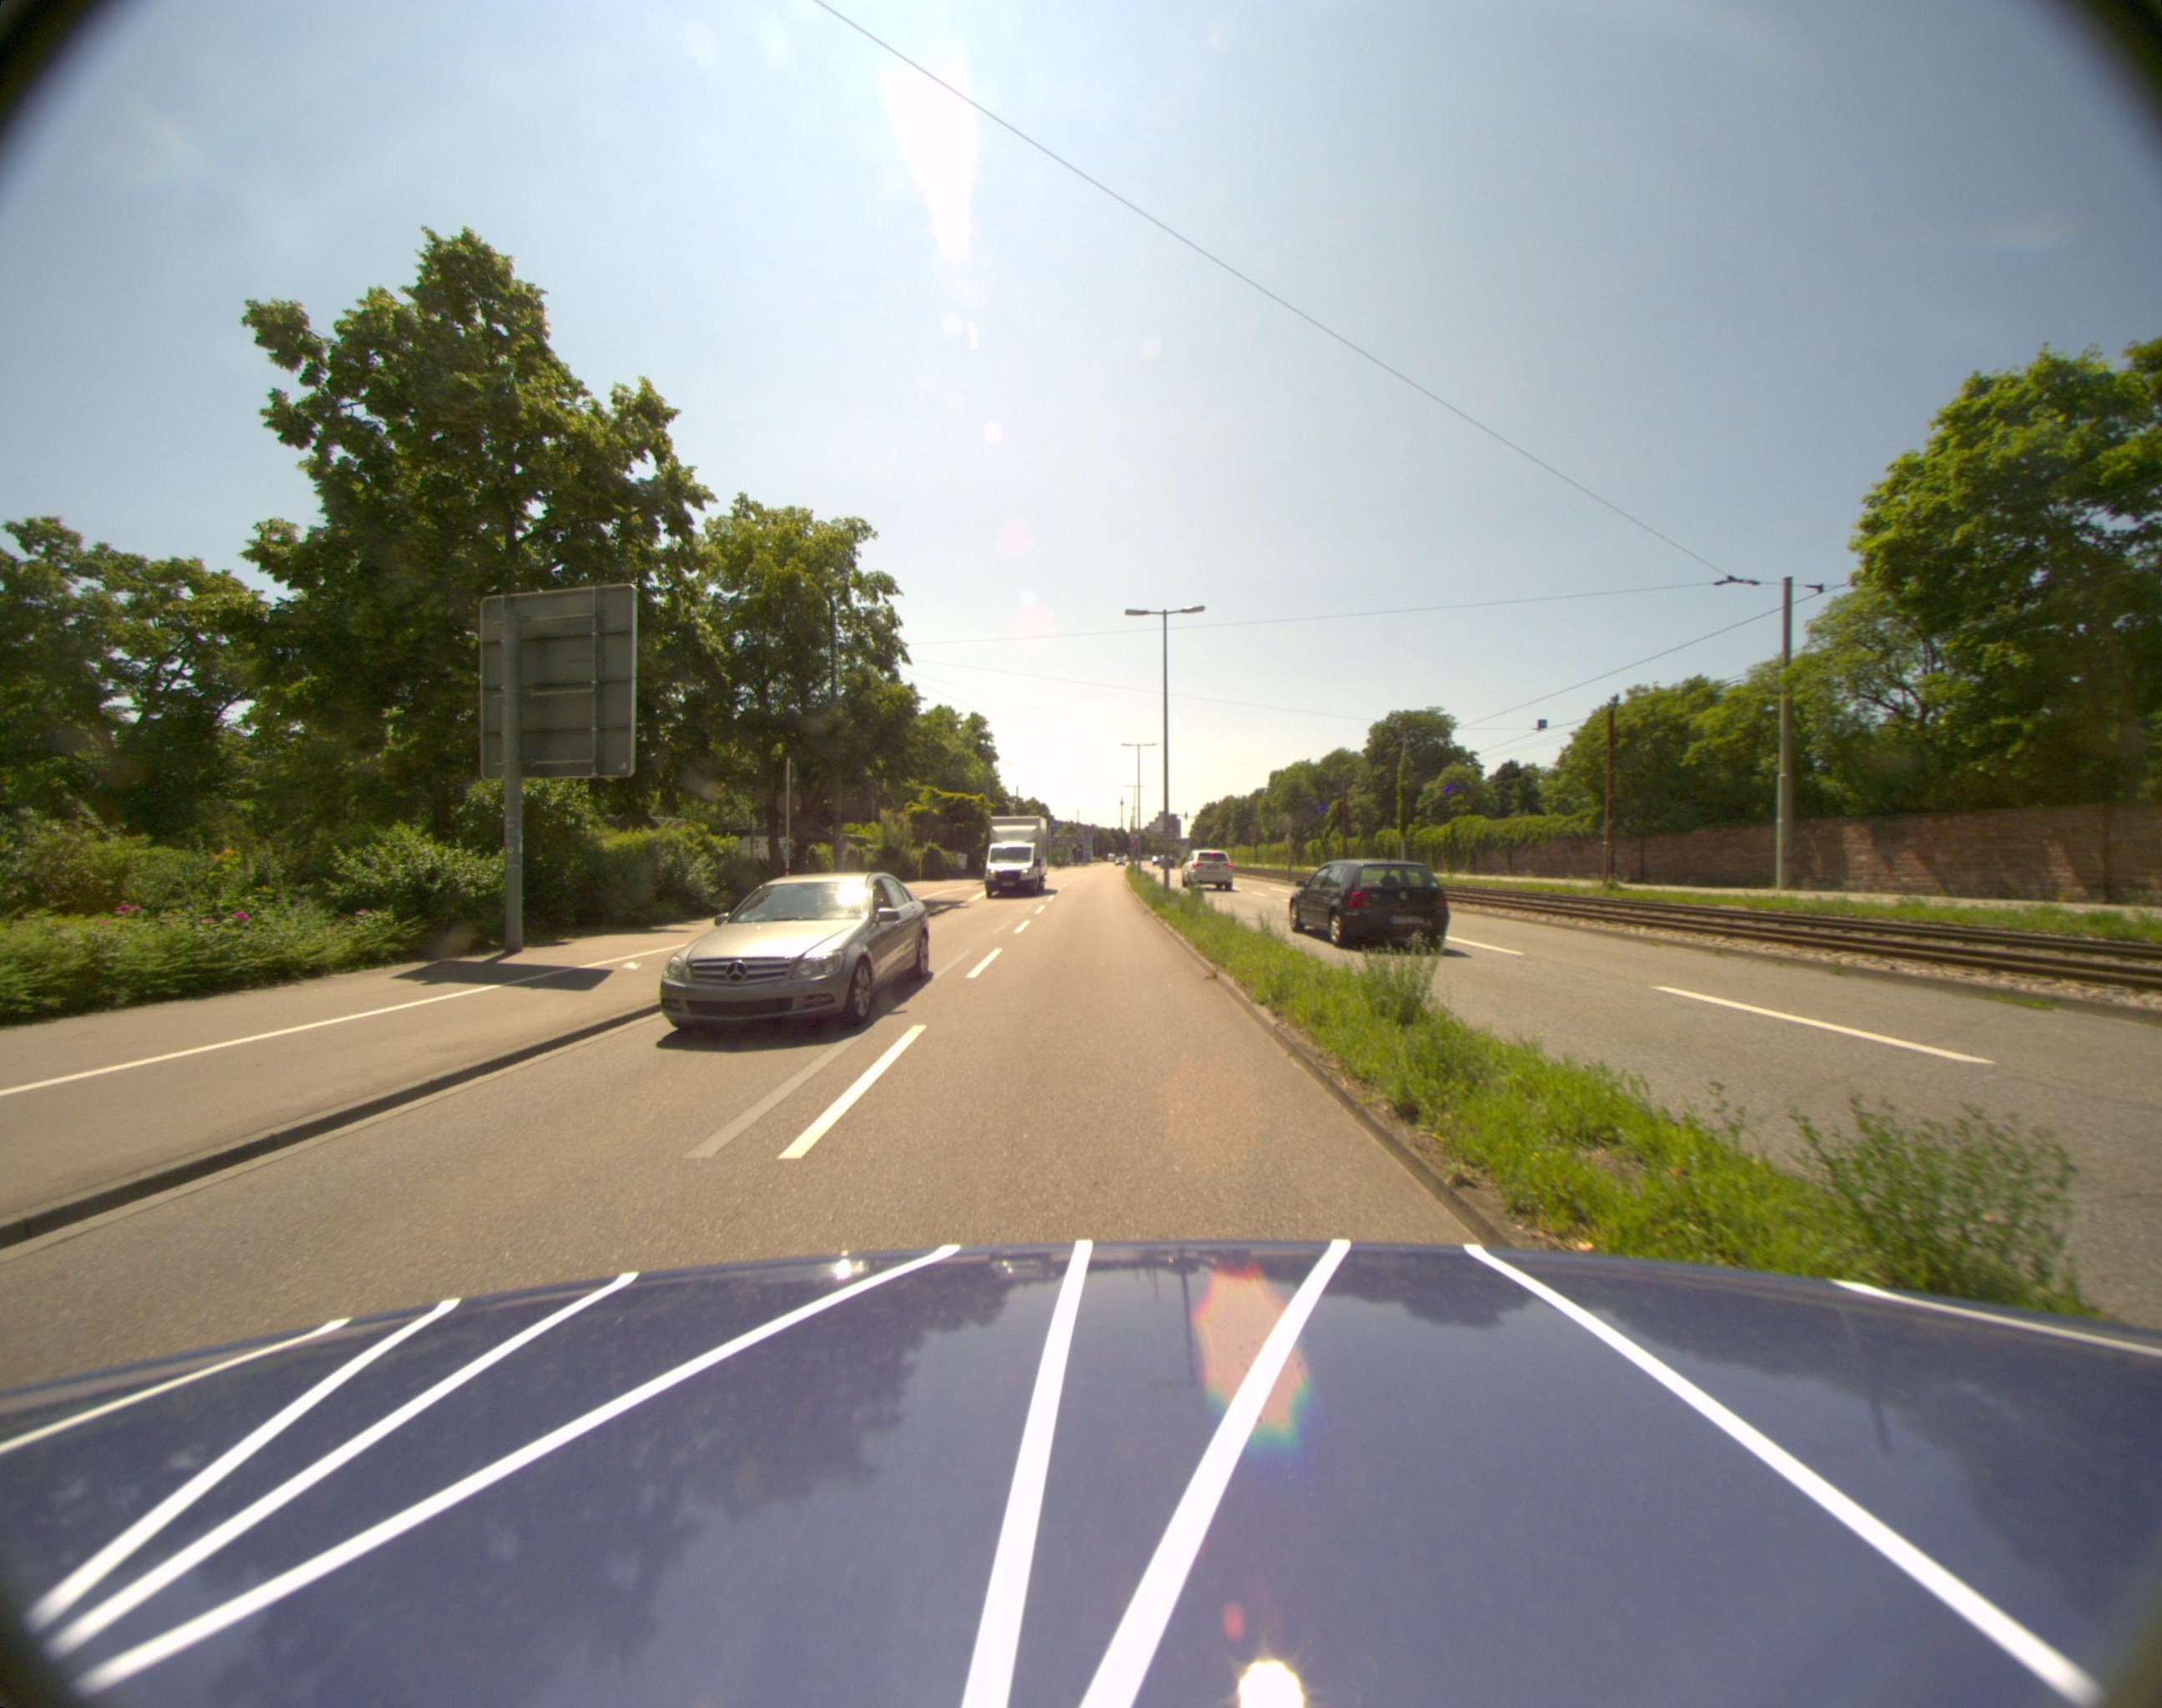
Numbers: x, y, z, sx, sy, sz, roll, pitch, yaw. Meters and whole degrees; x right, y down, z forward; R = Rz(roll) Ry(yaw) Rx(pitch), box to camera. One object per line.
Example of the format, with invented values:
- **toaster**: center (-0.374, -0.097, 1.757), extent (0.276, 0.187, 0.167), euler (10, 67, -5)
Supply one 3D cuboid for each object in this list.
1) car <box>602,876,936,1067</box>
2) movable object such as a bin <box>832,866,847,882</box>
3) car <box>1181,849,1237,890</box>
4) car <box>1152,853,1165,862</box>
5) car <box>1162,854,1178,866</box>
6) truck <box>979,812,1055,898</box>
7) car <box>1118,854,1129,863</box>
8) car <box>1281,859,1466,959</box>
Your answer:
- **car**: center (-2.997, 1.047, 8.350), extent (1.903, 1.451, 3.971), euler (-2, 0, 1)
- **movable object such as a bin**: center (-14.404, 1.203, 45.274), extent (0.630, 0.898, 0.637), euler (-1, 1, 4)
- **car**: center (5.778, 0.655, 34.824), extent (1.905, 1.738, 4.588), euler (0, 0, 1)
- **car**: center (12.606, 0.555, 123.967), extent (1.765, 1.512, 4.097), euler (1, 0, 2)
- **car**: center (11.225, 0.730, 96.176), extent (1.699, 1.462, 3.791), euler (0, 0, 2)
- **truck**: center (-2.620, 0.000, 33.568), extent (2.294, 3.259, 8.312), euler (-1, 1, 2)
- **car**: center (7.703, 0.847, 138.147), extent (1.828, 1.556, 4.001), euler (-1, 0, 5)
- **car**: center (4.847, 0.834, 13.217), extent (1.720, 1.450, 3.914), euler (0, 0, 0)
